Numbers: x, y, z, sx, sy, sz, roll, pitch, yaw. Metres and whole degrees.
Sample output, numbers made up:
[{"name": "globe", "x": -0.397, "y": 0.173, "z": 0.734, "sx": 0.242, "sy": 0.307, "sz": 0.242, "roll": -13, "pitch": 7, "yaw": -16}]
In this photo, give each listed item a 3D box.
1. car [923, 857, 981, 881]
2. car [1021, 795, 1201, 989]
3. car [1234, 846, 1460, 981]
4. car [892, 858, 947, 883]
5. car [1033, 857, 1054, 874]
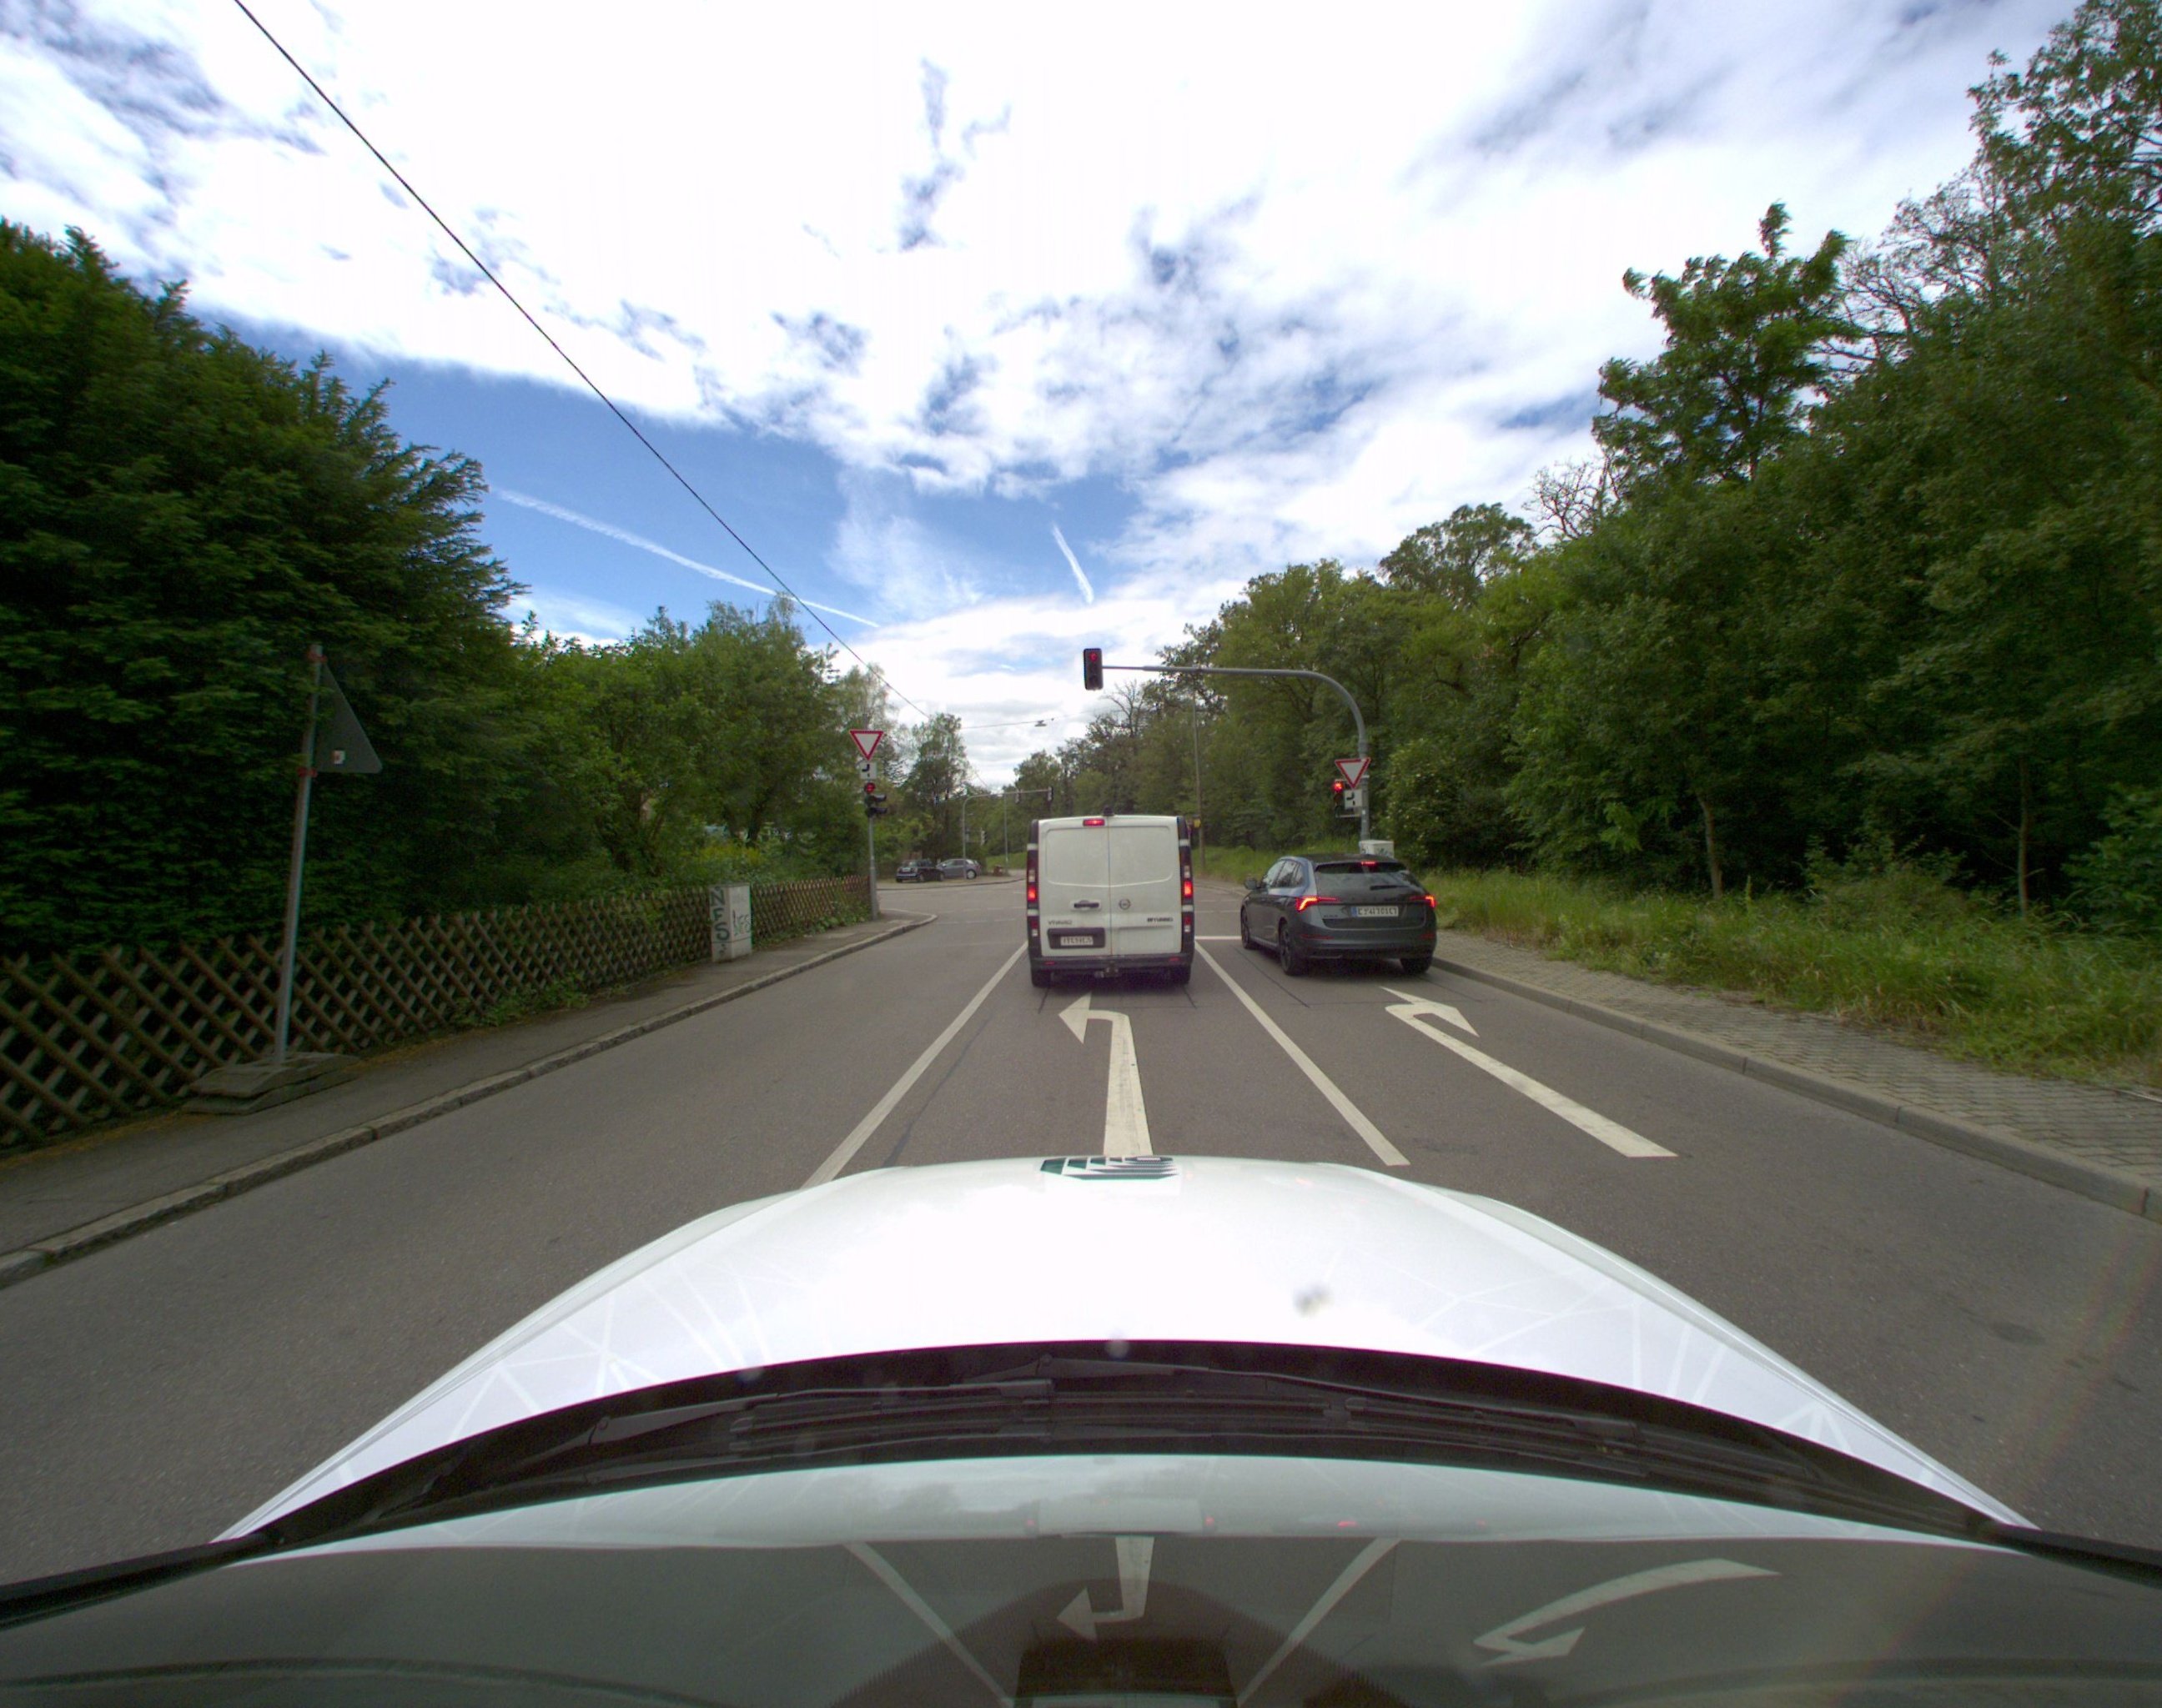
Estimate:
[{"name": "car", "x": -9.663, "y": 1.102, "z": 60.803, "sx": 4.094, "sy": 1.553, "sz": 1.845, "roll": -2, "pitch": 1, "yaw": -16}, {"name": "car", "x": 0.320, "y": 0.393, "z": 10.945, "sx": 1.910, "sy": 2.053, "sz": 4.613, "roll": 0, "pitch": 0, "yaw": 0}, {"name": "car", "x": 3.326, "y": 0.660, "z": 11.051, "sx": 1.786, "sy": 1.450, "sz": 4.000, "roll": -2, "pitch": 0, "yaw": 1}, {"name": "car", "x": -9.963, "y": 0.979, "z": 50.479, "sx": 1.683, "sy": 1.449, "sz": 3.562, "roll": 1, "pitch": 0, "yaw": 22}, {"name": "car", "x": -3.595, "y": 1.086, "z": 78.305, "sx": 1.852, "sy": 1.507, "sz": 3.997, "roll": -2, "pitch": 0, "yaw": -2}]
